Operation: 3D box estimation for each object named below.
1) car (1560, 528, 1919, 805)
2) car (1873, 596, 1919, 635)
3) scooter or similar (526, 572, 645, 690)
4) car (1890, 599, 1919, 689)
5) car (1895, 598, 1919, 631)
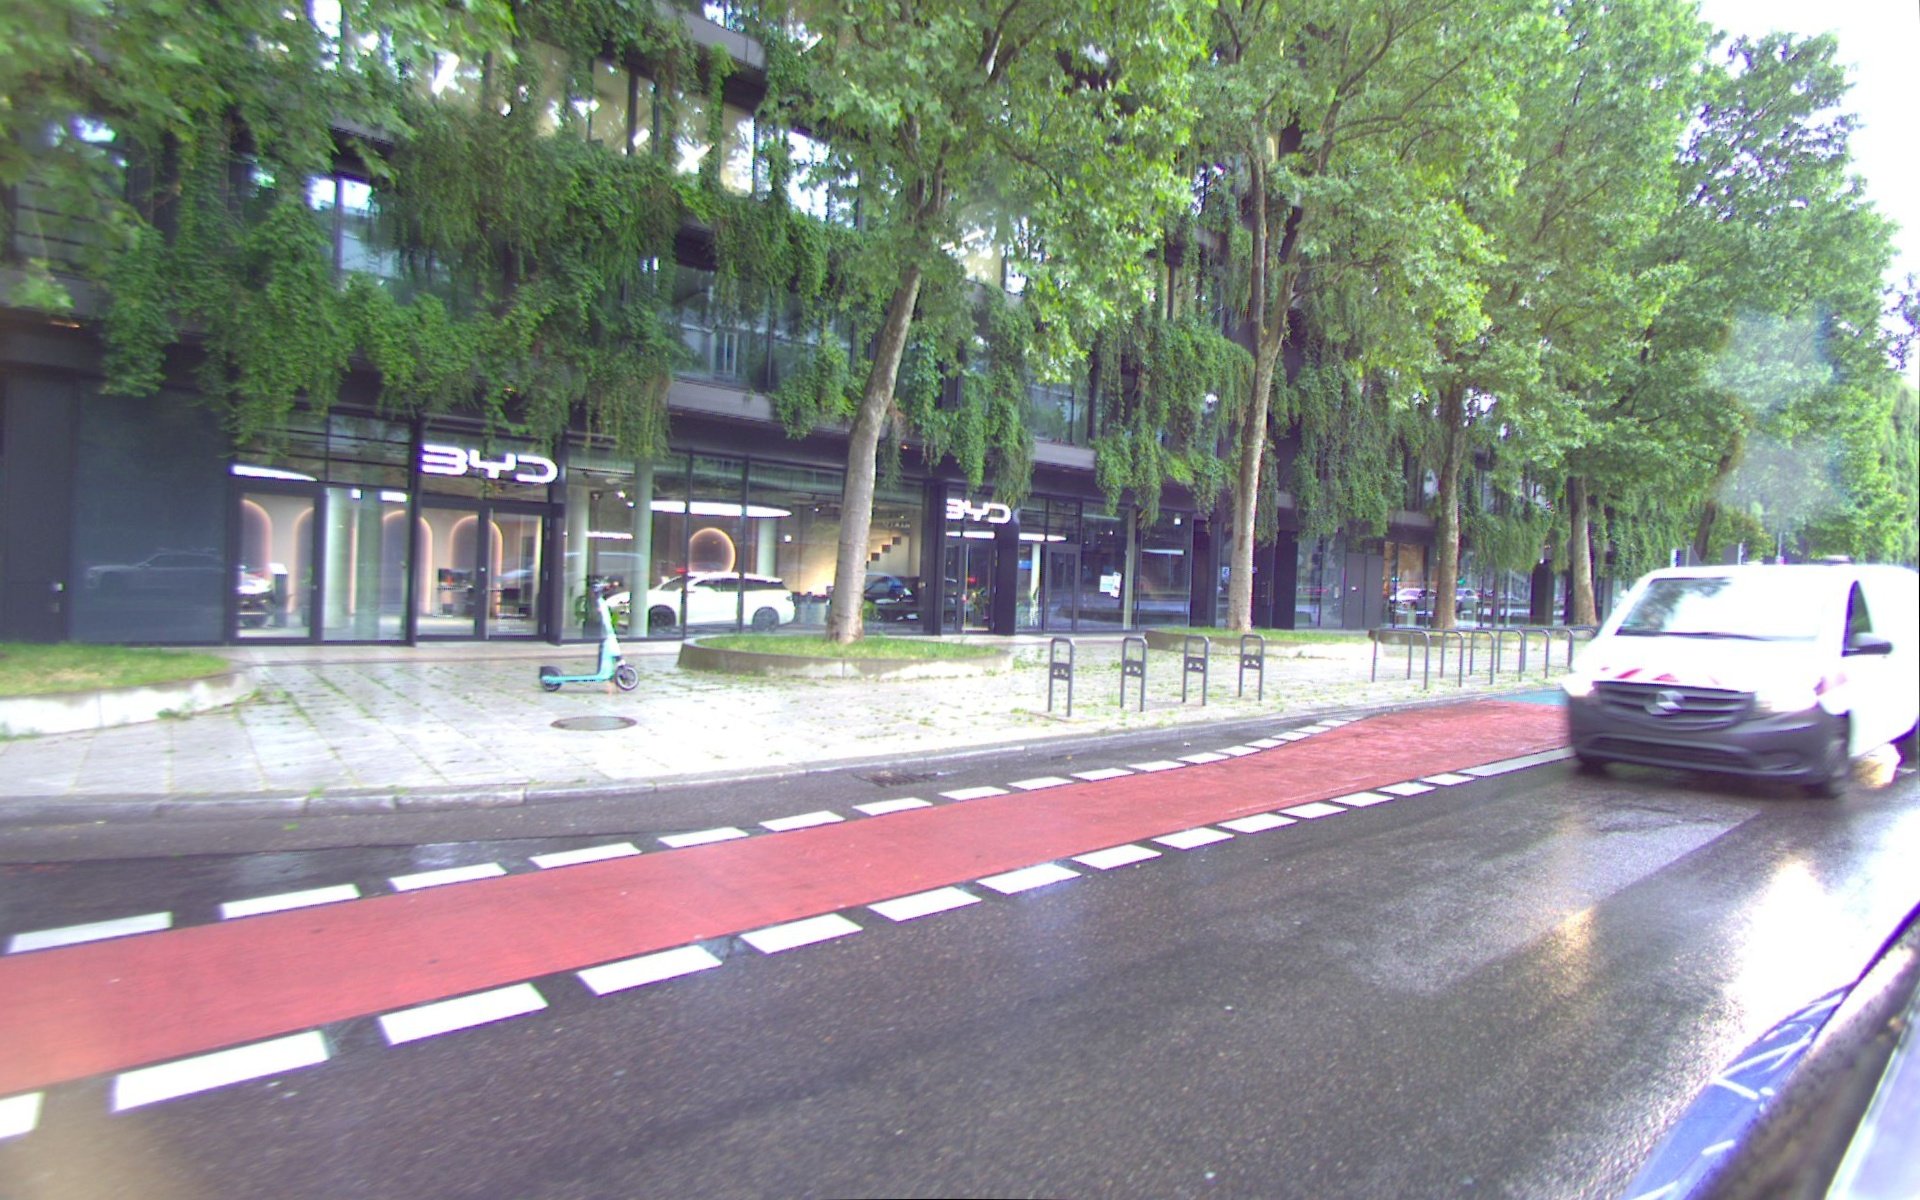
[{"bbox_3d":[7.686,0.413,9.445,4.873,1.970,1.925,-1,2,-38],"label":"car"},{"bbox_3d":[44.603,0.691,47.596,4.519,1.758,1.931,-1,0,-41],"label":"car"},{"bbox_3d":[-4.240,0.337,11.474,1.165,1.298,0.535,0,0,10],"label":"scooter or similar"},{"bbox_3d":[17.621,0.736,17.334,3.987,1.453,1.801,-1,2,-37],"label":"car"},{"bbox_3d":[49.124,0.695,51.201,4.502,1.581,2.035,-1,1,-39],"label":"car"}]
